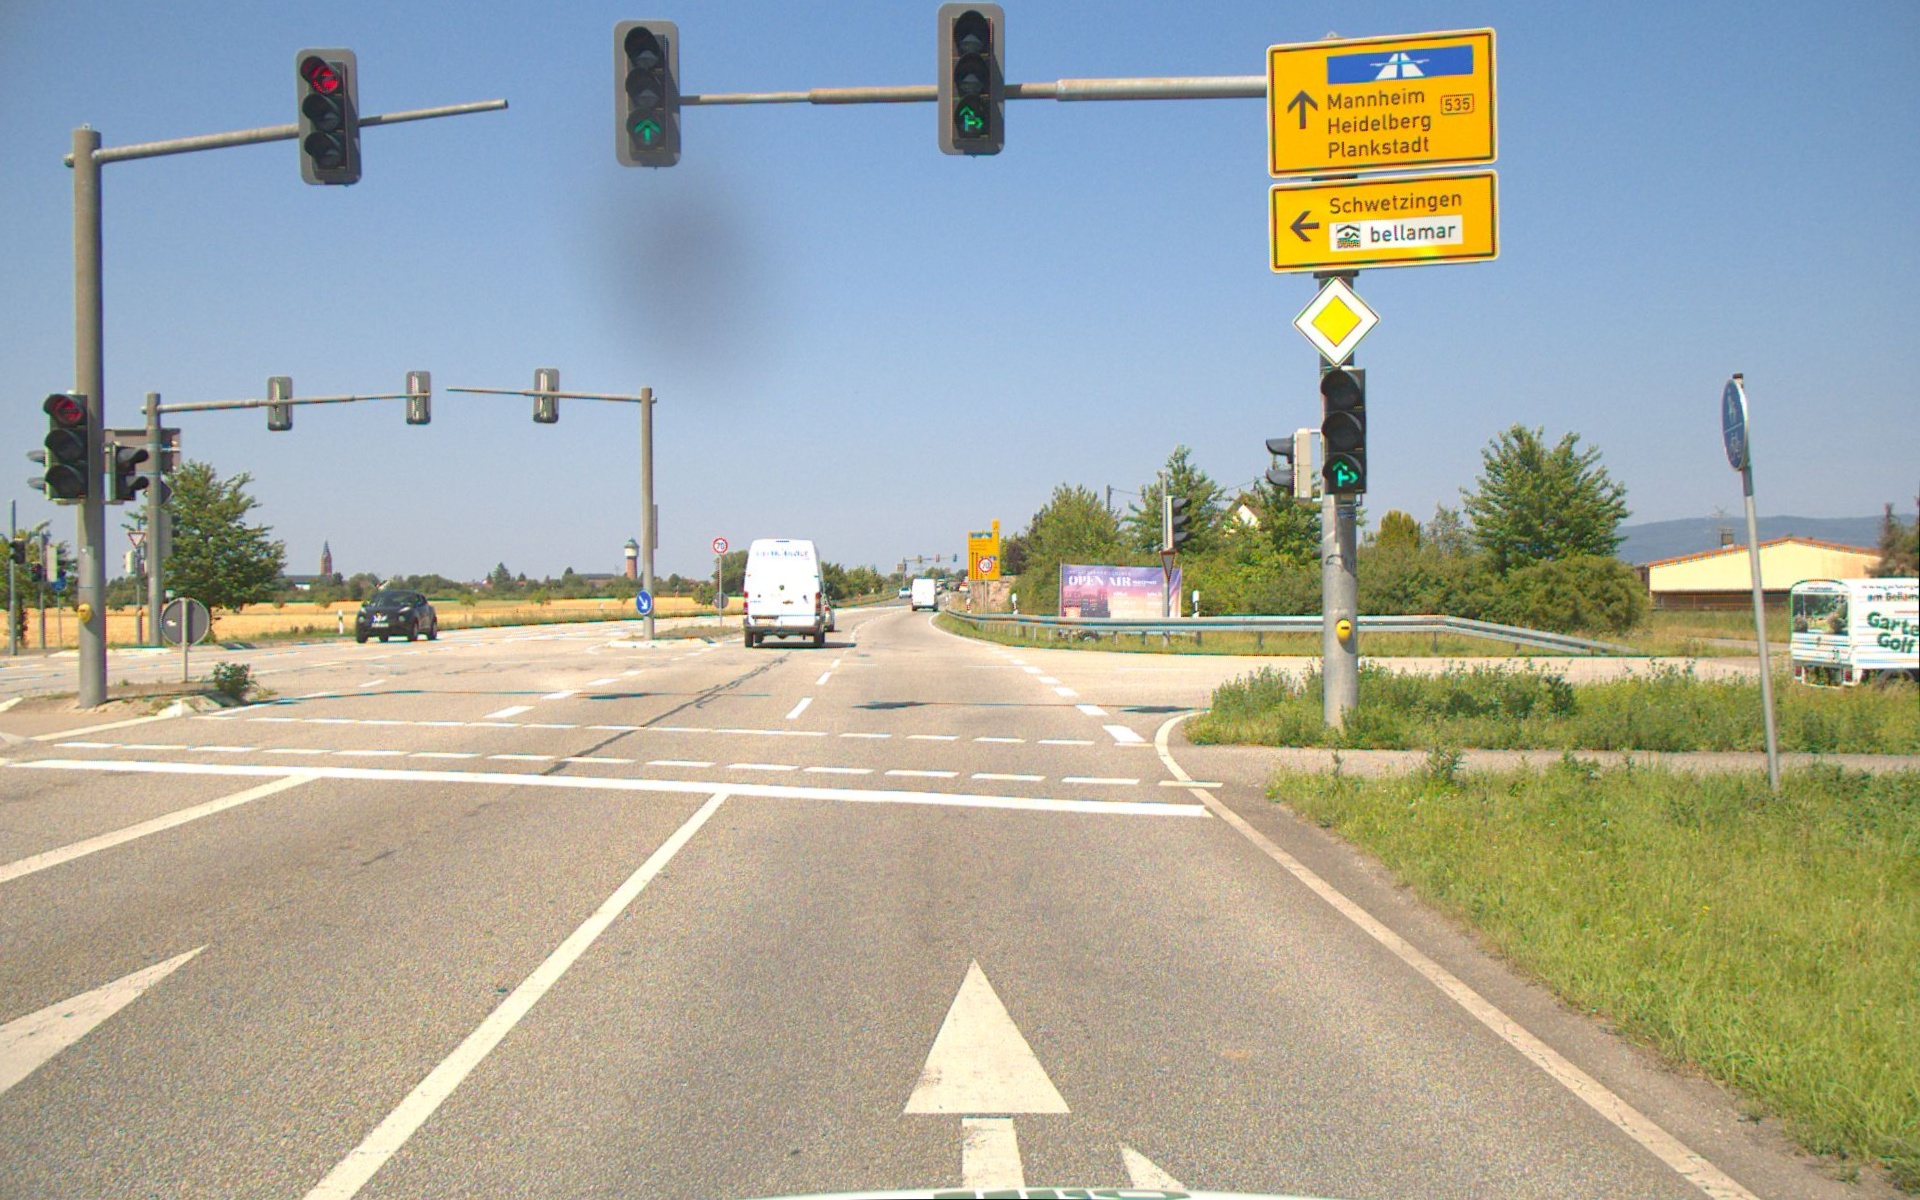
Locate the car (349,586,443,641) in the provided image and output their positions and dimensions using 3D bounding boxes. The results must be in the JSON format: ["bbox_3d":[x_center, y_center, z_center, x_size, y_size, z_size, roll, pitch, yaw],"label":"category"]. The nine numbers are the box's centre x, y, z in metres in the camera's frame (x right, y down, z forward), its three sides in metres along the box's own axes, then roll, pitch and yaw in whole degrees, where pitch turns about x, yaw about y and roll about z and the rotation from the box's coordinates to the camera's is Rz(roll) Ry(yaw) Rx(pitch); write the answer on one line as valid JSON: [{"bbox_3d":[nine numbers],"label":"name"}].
[{"bbox_3d":[-17.569,0.418,51.687,1.795,1.628,4.300,-1,0,-5],"label":"car"}]

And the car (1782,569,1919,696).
[{"bbox_3d":[12.291,0.393,20.815,3.273,1.526,1.398,0,0,-8],"label":"car"}]

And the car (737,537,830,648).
[{"bbox_3d":[-4.509,-0.203,43.067,1.998,2.666,5.738,-1,0,-2],"label":"car"}]

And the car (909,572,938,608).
[{"bbox_3d":[-2.876,-0.751,131.703,1.952,2.742,4.970,1,-1,2],"label":"car"}]

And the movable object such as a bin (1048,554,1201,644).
[{"bbox_3d":[4.519,-0.026,45.661,4.014,2.372,1.276,1,-1,-6],"label":"movable object such as a bin"}]

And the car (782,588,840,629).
[{"bbox_3d":[-5.833,0.319,65.079,1.762,1.534,4.197,0,1,2],"label":"car"}]

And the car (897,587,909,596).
[{"bbox_3d":[-8.994,-1.313,260.770,1.712,1.467,4.083,-1,0,2],"label":"car"}]
